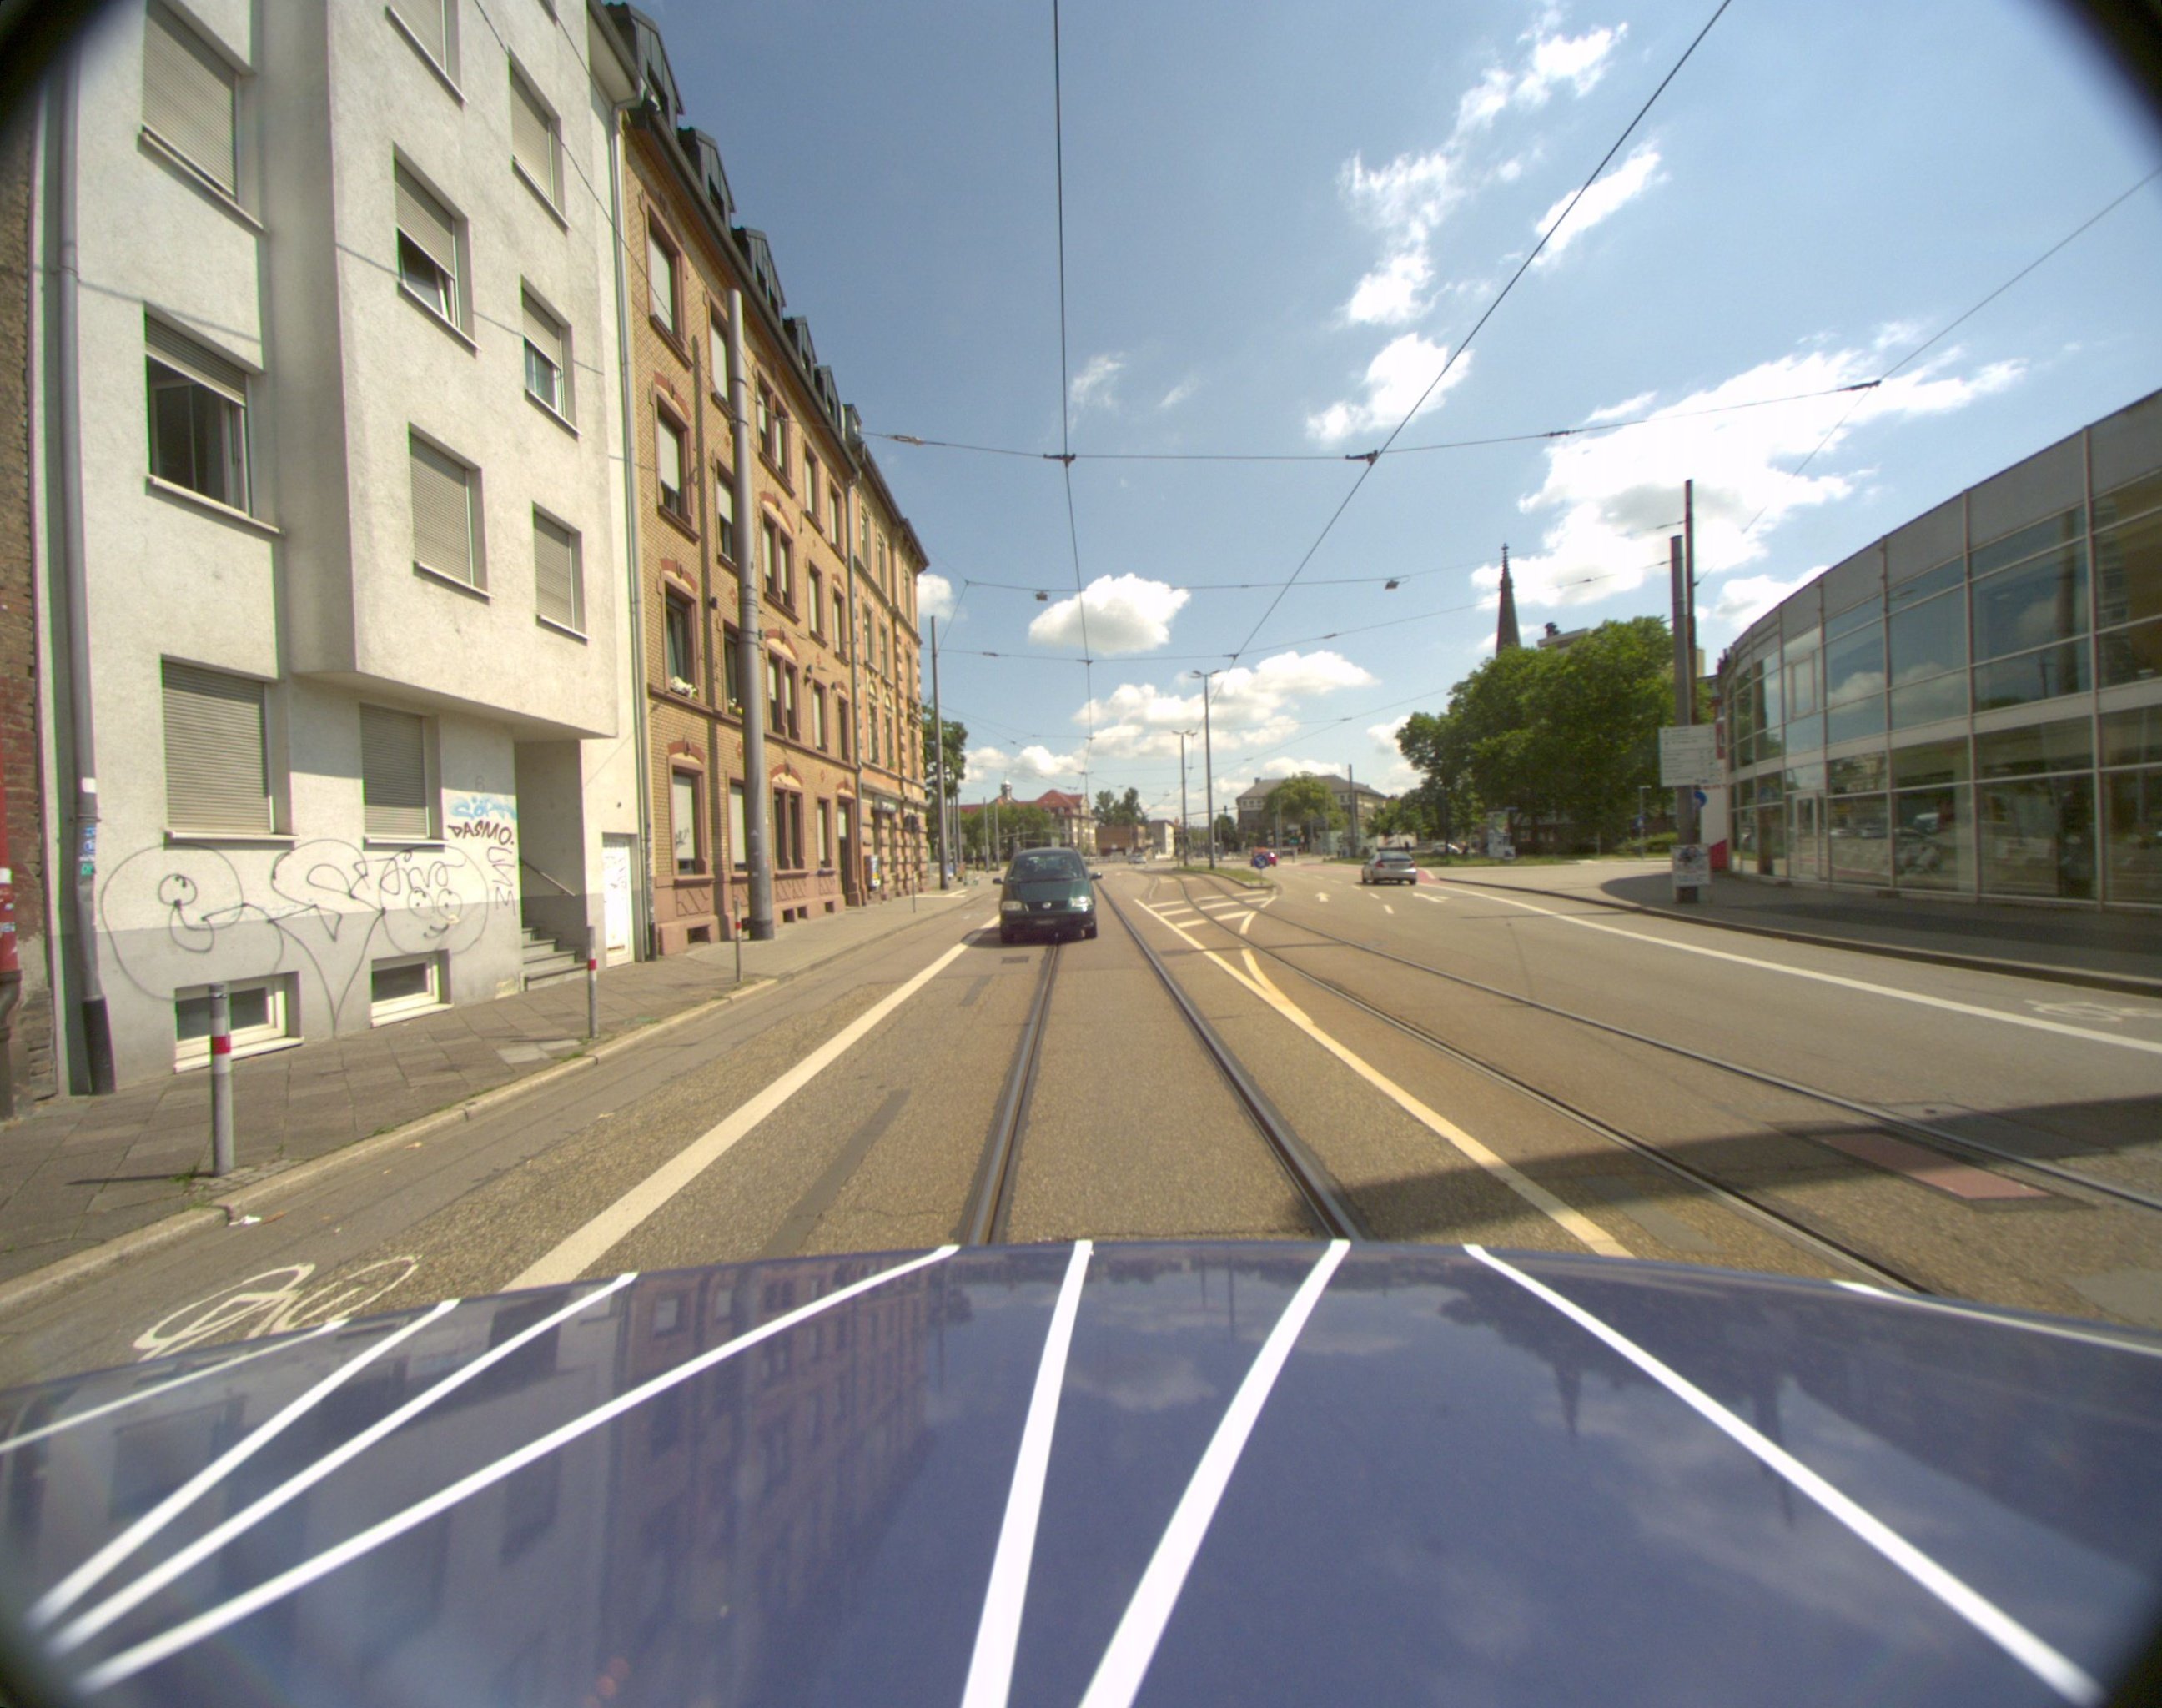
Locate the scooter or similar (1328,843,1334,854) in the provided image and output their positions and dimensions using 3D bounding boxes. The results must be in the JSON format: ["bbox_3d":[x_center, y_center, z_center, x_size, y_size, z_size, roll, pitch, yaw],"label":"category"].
[{"bbox_3d":[27.941,-0.618,84.946,0.416,1.118,0.556,-2,0,-1],"label":"scooter or similar"}]

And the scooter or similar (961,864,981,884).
[{"bbox_3d":[-6.705,1.195,46.382,0.949,1.173,1.086,-1,1,6],"label":"scooter or similar"}]

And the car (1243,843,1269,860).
[{"bbox_3d":[21.127,-0.288,91.928,1.916,1.855,4.366,-2,0,-1],"label":"car"}]

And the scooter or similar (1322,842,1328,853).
[{"bbox_3d":[27.212,-0.684,84.890,0.462,1.193,0.549,-2,0,-1],"label":"scooter or similar"}]

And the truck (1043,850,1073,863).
[{"bbox_3d":[-6.021,0.610,200.268,3.347,2.980,8.751,-2,0,32],"label":"truck"}]

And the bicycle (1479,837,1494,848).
[{"bbox_3d":[51.923,-1.456,97.267,0.494,1.257,1.599,-3,0,-31],"label":"bicycle"}]

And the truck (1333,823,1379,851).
[{"bbox_3d":[43.017,-2.657,118.641,6.889,4.095,2.957,-2,1,-30],"label":"truck"}]

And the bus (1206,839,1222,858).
[{"bbox_3d":[26.529,-1.091,151.614,2.947,3.427,7.954,-2,0,11],"label":"bus"}]

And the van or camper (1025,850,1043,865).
[{"bbox_3d":[-8.470,0.637,137.143,2.234,2.719,5.515,-2,0,-12],"label":"van or camper"}]

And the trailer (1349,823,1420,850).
[{"bbox_3d":[48.933,-2.859,122.160,13.439,4.053,2.942,-2,1,-31],"label":"trailer"}]

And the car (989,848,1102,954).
[{"bbox_3d":[-0.607,0.806,15.085,1.819,1.707,4.085,-4,0,0],"label":"car"}]

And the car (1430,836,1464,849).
[{"bbox_3d":[52.292,-1.639,108.708,4.164,1.633,1.631,-2,0,18],"label":"car"}]

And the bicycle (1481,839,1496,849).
[{"bbox_3d":[50.206,-1.270,93.558,0.494,1.161,1.599,-3,0,-31],"label":"bicycle"}]

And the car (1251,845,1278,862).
[{"bbox_3d":[16.770,-0.048,69.663,1.706,1.420,3.902,-1,0,3],"label":"car"}]

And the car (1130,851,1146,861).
[{"bbox_3d":[9.327,0.357,124.563,1.772,1.594,4.490,-1,0,-8],"label":"car"}]

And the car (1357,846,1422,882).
[{"bbox_3d":[13.132,0.399,32.552,1.817,1.412,4.191,-1,0,11],"label":"car"}]
